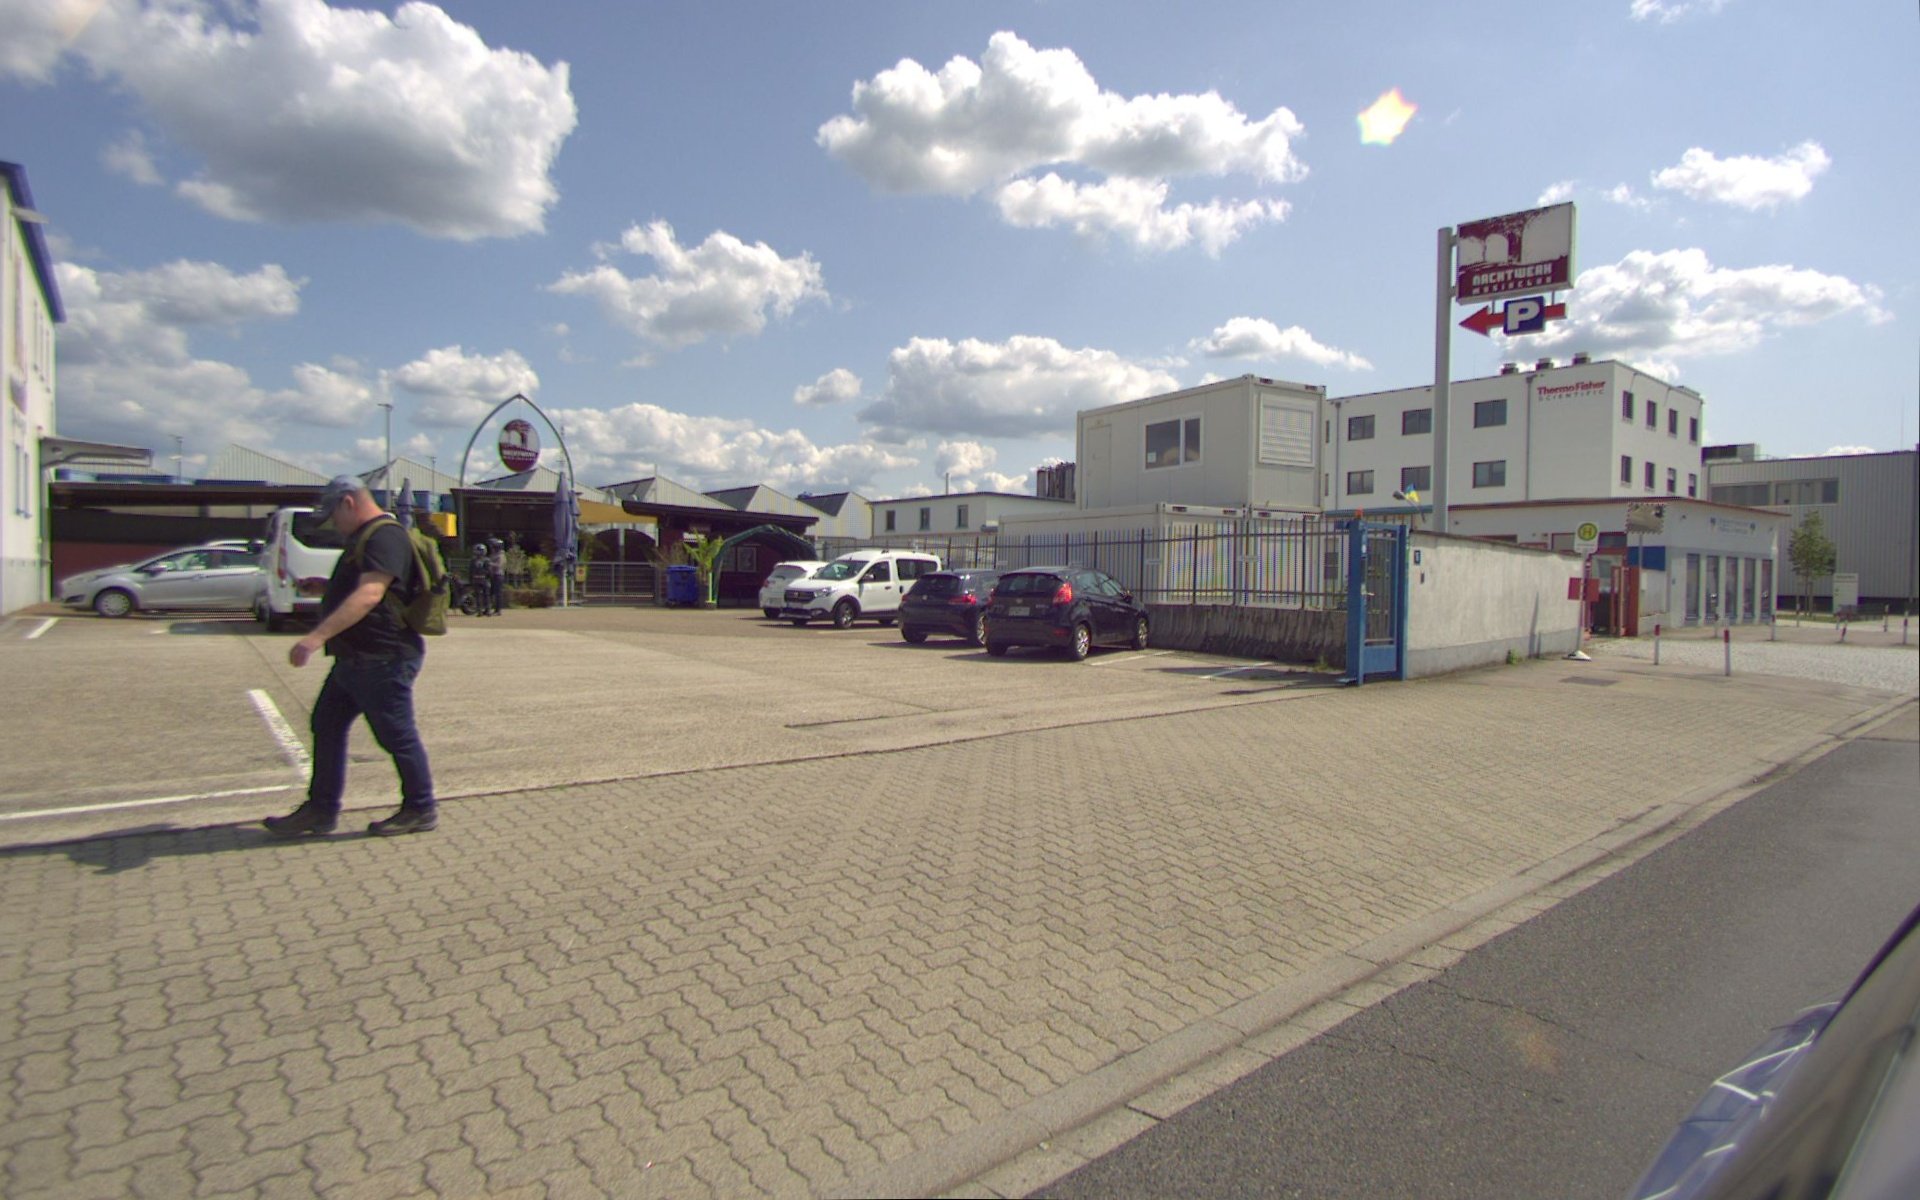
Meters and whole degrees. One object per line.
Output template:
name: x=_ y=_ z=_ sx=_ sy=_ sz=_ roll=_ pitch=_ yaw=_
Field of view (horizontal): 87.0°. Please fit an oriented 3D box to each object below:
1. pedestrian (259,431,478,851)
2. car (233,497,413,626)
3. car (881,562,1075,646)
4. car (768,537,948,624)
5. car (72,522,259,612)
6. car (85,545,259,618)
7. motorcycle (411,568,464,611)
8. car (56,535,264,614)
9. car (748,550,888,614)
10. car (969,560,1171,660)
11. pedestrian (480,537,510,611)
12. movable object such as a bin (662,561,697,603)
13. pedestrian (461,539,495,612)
pedestrian: x=-2.820 y=0.151 z=4.817 sx=0.773 sy=1.778 sz=0.771 roll=-1 pitch=3 yaw=-41
car: x=-11.394 y=-0.626 z=17.946 sx=2.235 sy=1.961 sz=4.691 roll=0 pitch=1 yaw=-38
car: x=0.453 y=0.014 z=19.227 sx=1.940 sy=1.394 sz=3.955 roll=2 pitch=2 yaw=32
car: x=-2.283 y=-0.466 z=23.621 sx=1.685 sy=1.829 sz=4.218 roll=2 pitch=2 yaw=39
car: x=-17.274 y=-0.687 z=22.052 sx=3.109 sy=1.791 sz=1.415 roll=-1 pitch=-1 yaw=-43
car: x=-18.334 y=-0.414 z=23.598 sx=3.109 sy=1.583 sz=1.415 roll=-1 pitch=-1 yaw=-43
motorcycle: x=-11.921 y=-0.244 z=23.102 sx=0.455 sy=0.966 sz=0.988 roll=2 pitch=1 yaw=35
car: x=-15.669 y=-0.485 z=19.918 sx=3.108 sy=1.421 sz=1.416 roll=-1 pitch=-1 yaw=-41
car: x=-3.654 y=-0.491 z=26.734 sx=1.545 sy=1.540 sz=3.957 roll=2 pitch=2 yaw=31
car: x=1.942 y=0.082 z=16.911 sx=1.735 sy=1.459 sz=3.785 roll=2 pitch=3 yaw=36
pedestrian: x=-10.844 y=-0.614 z=23.591 sx=0.449 sy=1.694 sz=0.603 roll=0 pitch=1 yaw=-42
movable object such as a bin: x=-8.886 y=-0.575 z=32.032 sx=1.009 sy=1.309 sz=0.601 roll=1 pitch=1 yaw=-19
pedestrian: x=-10.739 y=-0.546 z=22.558 sx=0.594 sy=1.607 sz=0.416 roll=0 pitch=1 yaw=-40
